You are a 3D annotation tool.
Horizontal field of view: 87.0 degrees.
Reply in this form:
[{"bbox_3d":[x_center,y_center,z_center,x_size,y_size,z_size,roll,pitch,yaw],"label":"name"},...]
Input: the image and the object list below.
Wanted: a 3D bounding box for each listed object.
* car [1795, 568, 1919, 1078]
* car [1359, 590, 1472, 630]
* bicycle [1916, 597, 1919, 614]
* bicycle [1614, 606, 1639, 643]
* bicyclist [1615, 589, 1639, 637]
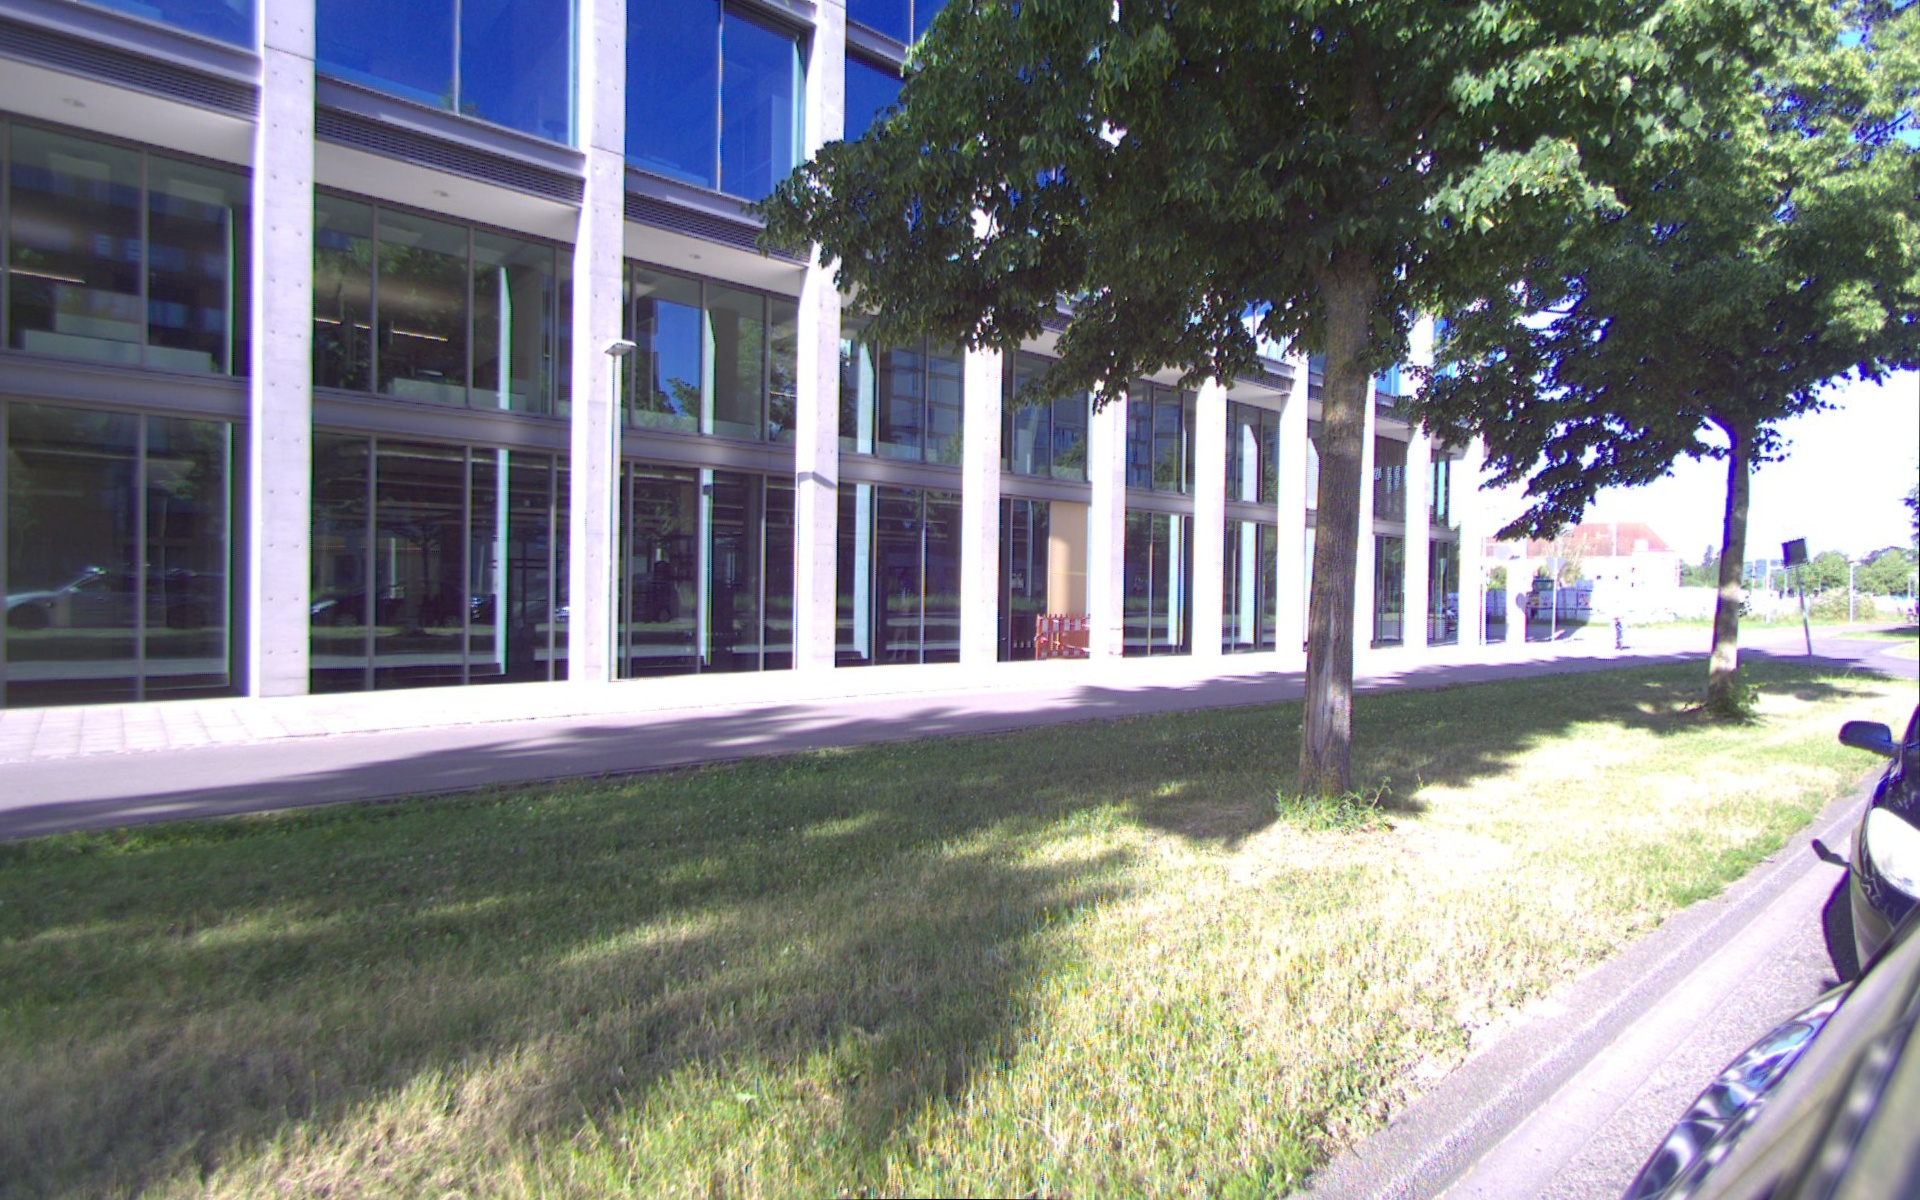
[{"bbox_3d":[4.900,0.665,3.941,4.403,1.500,1.845,0,1,-41],"label":"car"},{"bbox_3d":[19.510,0.391,43.496,1.963,1.598,3.997,0,1,-38],"label":"car"},{"bbox_3d":[81.093,0.446,84.855,3.930,1.380,0.930,0,1,-41],"label":"bicycle"},{"bbox_3d":[22.244,0.792,33.771,0.588,1.170,1.903,3,2,35],"label":"bicycle"},{"bbox_3d":[22.257,0.439,33.757,0.588,1.558,0.691,3,1,35],"label":"bicyclist"}]
